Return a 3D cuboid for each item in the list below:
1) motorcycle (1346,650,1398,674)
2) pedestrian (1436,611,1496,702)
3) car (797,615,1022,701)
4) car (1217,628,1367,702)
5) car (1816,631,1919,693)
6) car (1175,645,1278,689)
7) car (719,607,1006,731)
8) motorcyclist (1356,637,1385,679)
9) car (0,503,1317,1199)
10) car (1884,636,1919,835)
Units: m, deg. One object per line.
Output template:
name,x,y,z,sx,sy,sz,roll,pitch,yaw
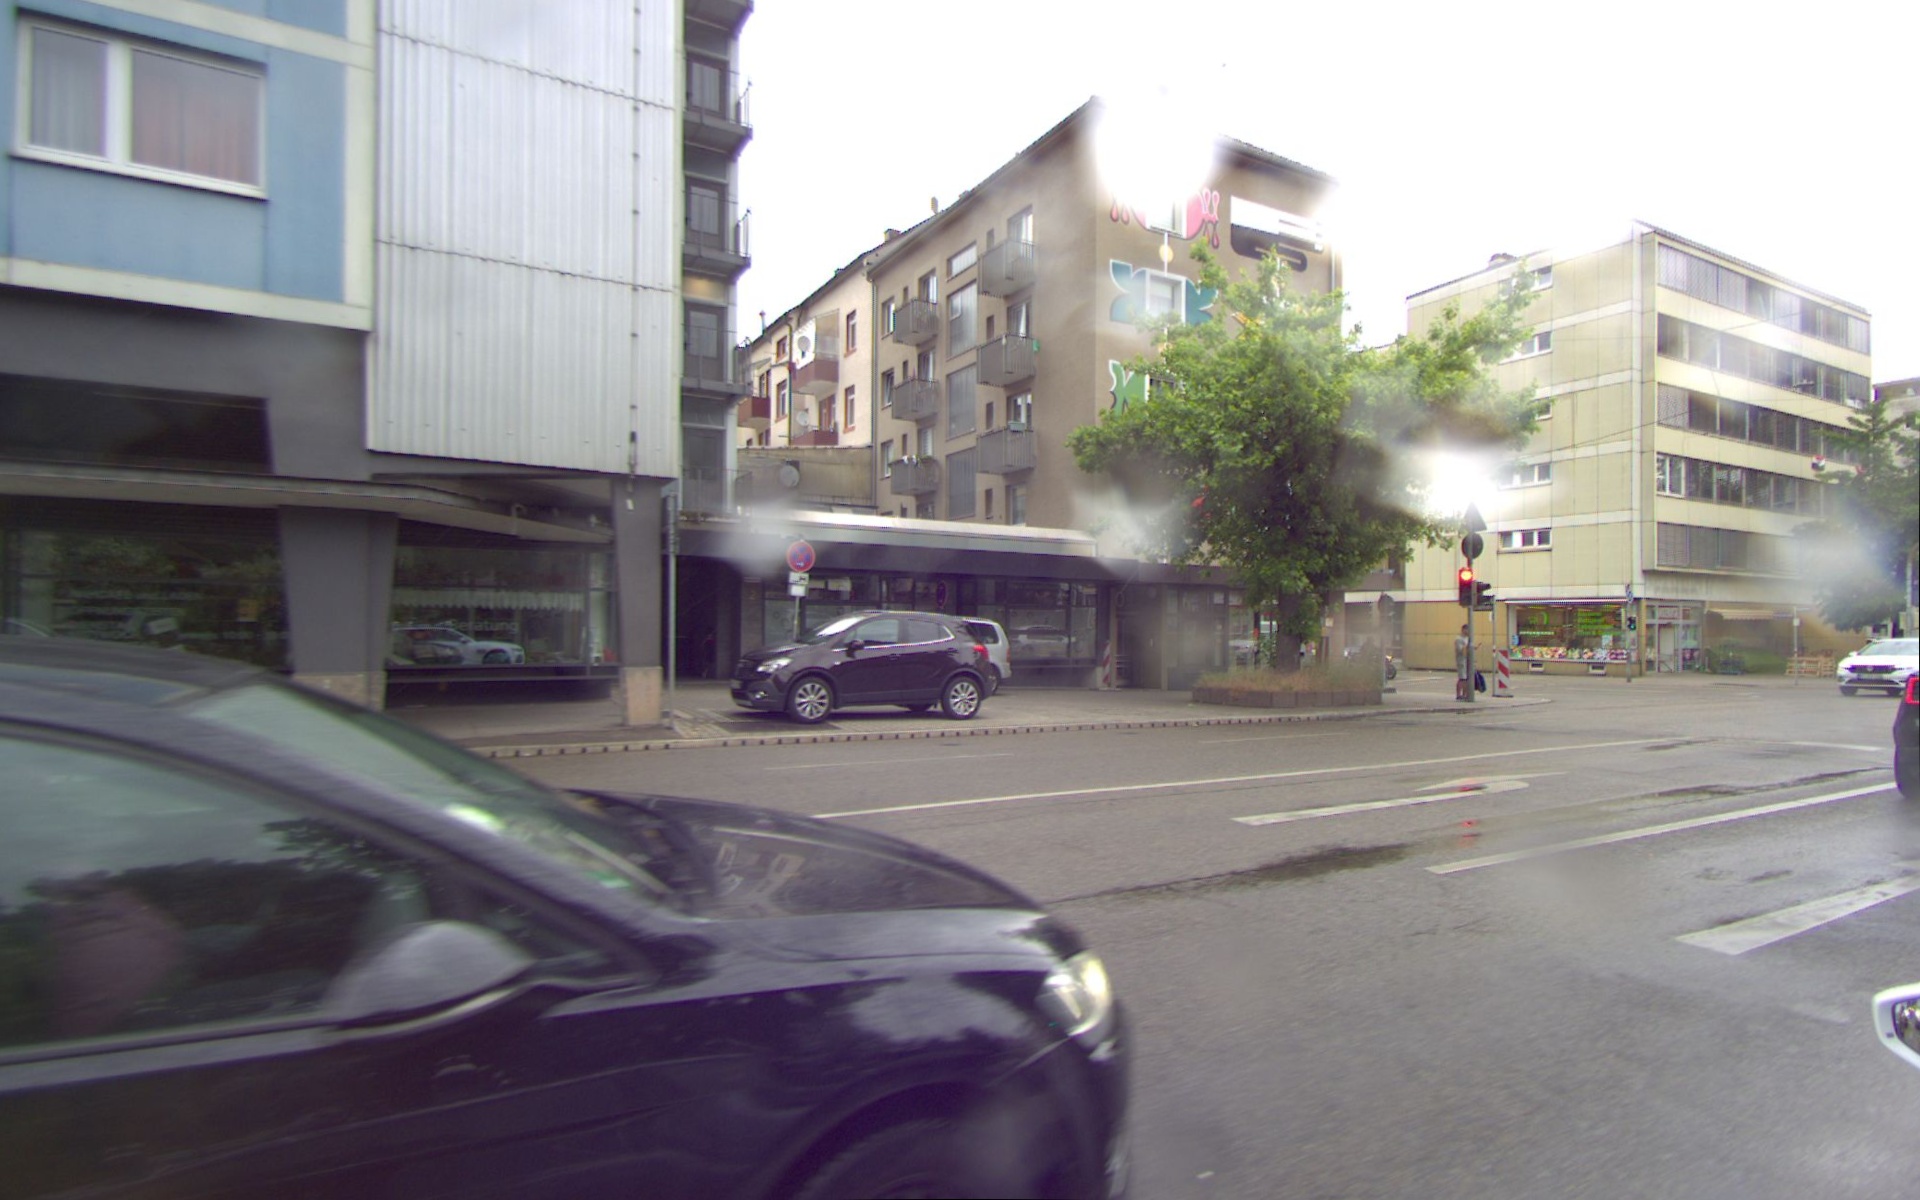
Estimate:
motorcycle,16.741,2.498,40.848,1.833,0.947,0.614,-3,-4,45
pedestrian,11.655,1.304,23.138,0.879,2.040,0.933,2,-3,-39
car,-1.049,1.193,21.687,4.460,1.676,1.983,1,-1,-31
car,13.321,2.642,40.711,2.160,2.747,5.733,1,-4,-31
car,24.786,1.623,26.478,4.036,1.513,1.987,1,-4,-28
car,12.426,3.148,47.127,2.013,1.944,4.409,2,-4,-34
car,-1.474,1.011,15.779,4.237,1.728,1.532,1,-1,-30
motorcyclist,16.717,2.380,40.894,0.908,1.684,0.704,-3,-4,43
car,-1.388,0.655,1.842,3.953,1.472,1.747,1,-2,-31
car,8.953,1.013,7.815,3.922,1.439,1.604,1,-1,-32
